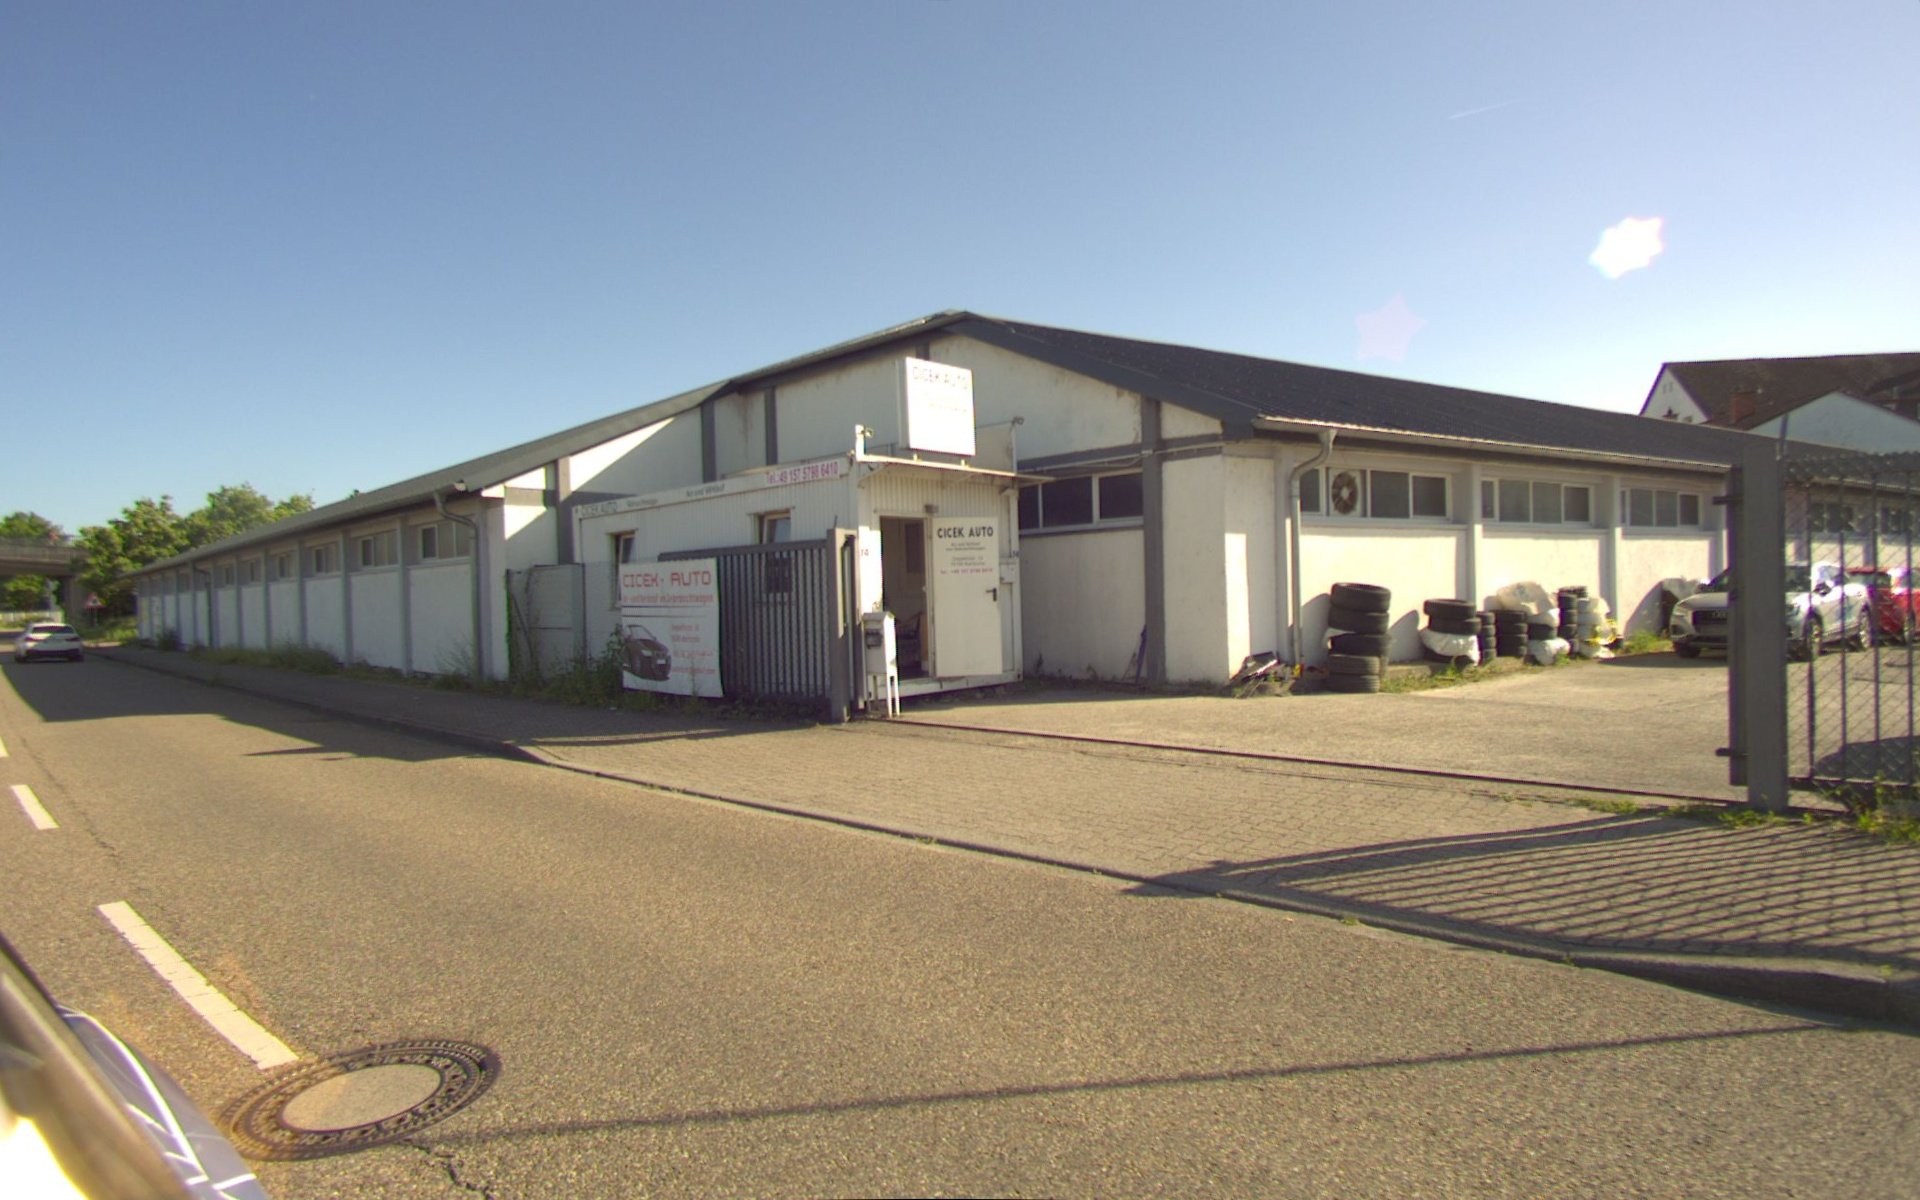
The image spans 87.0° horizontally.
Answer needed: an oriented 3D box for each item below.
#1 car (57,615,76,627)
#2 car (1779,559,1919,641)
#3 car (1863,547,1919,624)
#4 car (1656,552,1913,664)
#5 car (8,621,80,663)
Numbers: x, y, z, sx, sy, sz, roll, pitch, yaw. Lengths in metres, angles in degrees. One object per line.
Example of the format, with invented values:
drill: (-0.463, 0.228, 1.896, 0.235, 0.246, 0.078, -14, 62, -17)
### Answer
car: (-137.420, 3.180, 155.675, 1.968, 1.791, 4.373, -2, 0, -39)
car: (17.437, -0.053, 19.010, 4.329, 1.385, 1.846, -2, 0, -31)
car: (21.345, -0.353, 21.640, 4.329, 1.574, 1.846, -2, 0, -31)
car: (13.280, 0.061, 16.250, 4.329, 1.574, 1.846, -2, 0, -31)
car: (-35.087, 1.565, 38.738, 4.690, 1.489, 1.788, -1, -1, 45)
